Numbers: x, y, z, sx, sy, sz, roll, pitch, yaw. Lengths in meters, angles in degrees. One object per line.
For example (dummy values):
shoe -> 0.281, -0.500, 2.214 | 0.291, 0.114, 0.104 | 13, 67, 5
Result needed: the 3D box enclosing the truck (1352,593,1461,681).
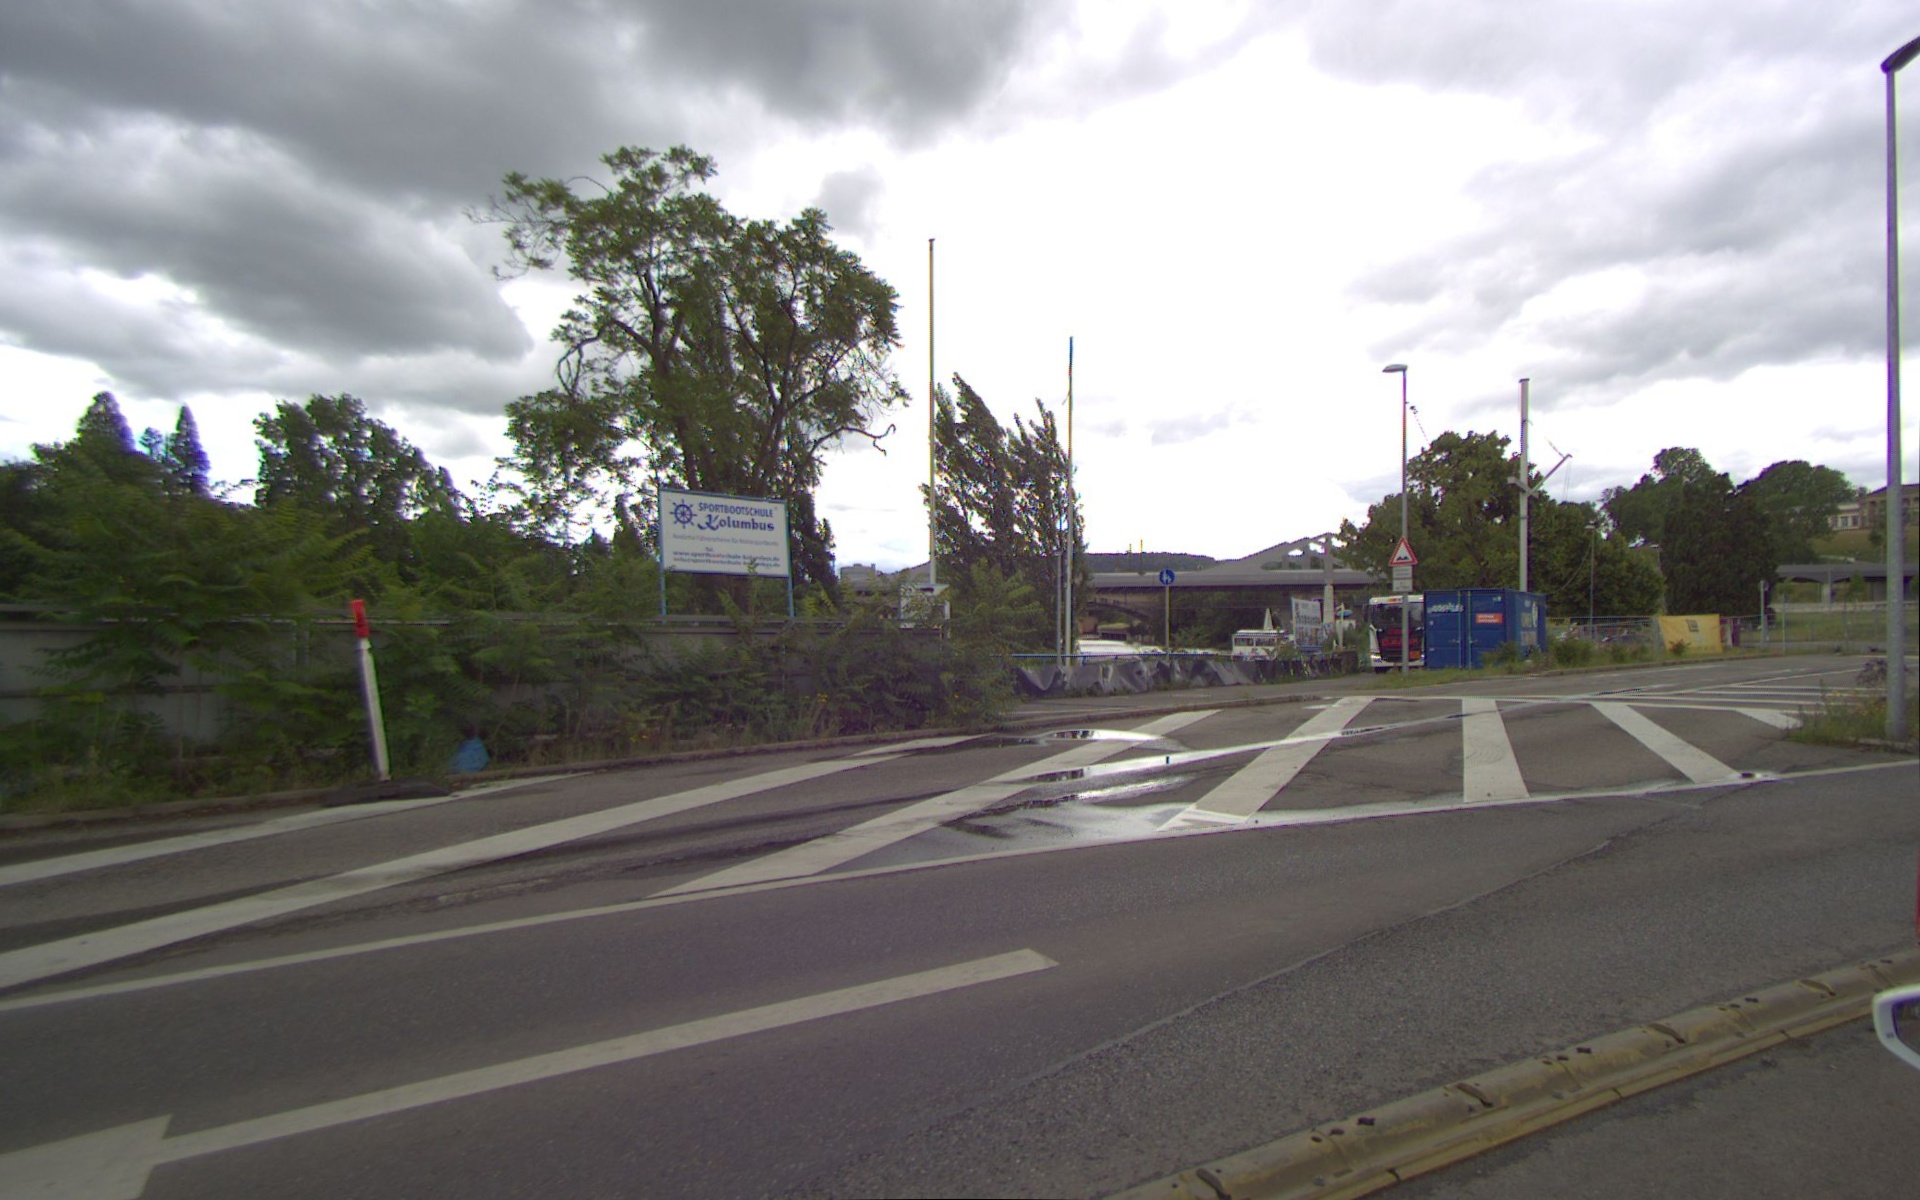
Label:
truck -> 19.181, 1.491, 42.836 | 2.755, 3.380, 8.453 | -3, -2, 34
